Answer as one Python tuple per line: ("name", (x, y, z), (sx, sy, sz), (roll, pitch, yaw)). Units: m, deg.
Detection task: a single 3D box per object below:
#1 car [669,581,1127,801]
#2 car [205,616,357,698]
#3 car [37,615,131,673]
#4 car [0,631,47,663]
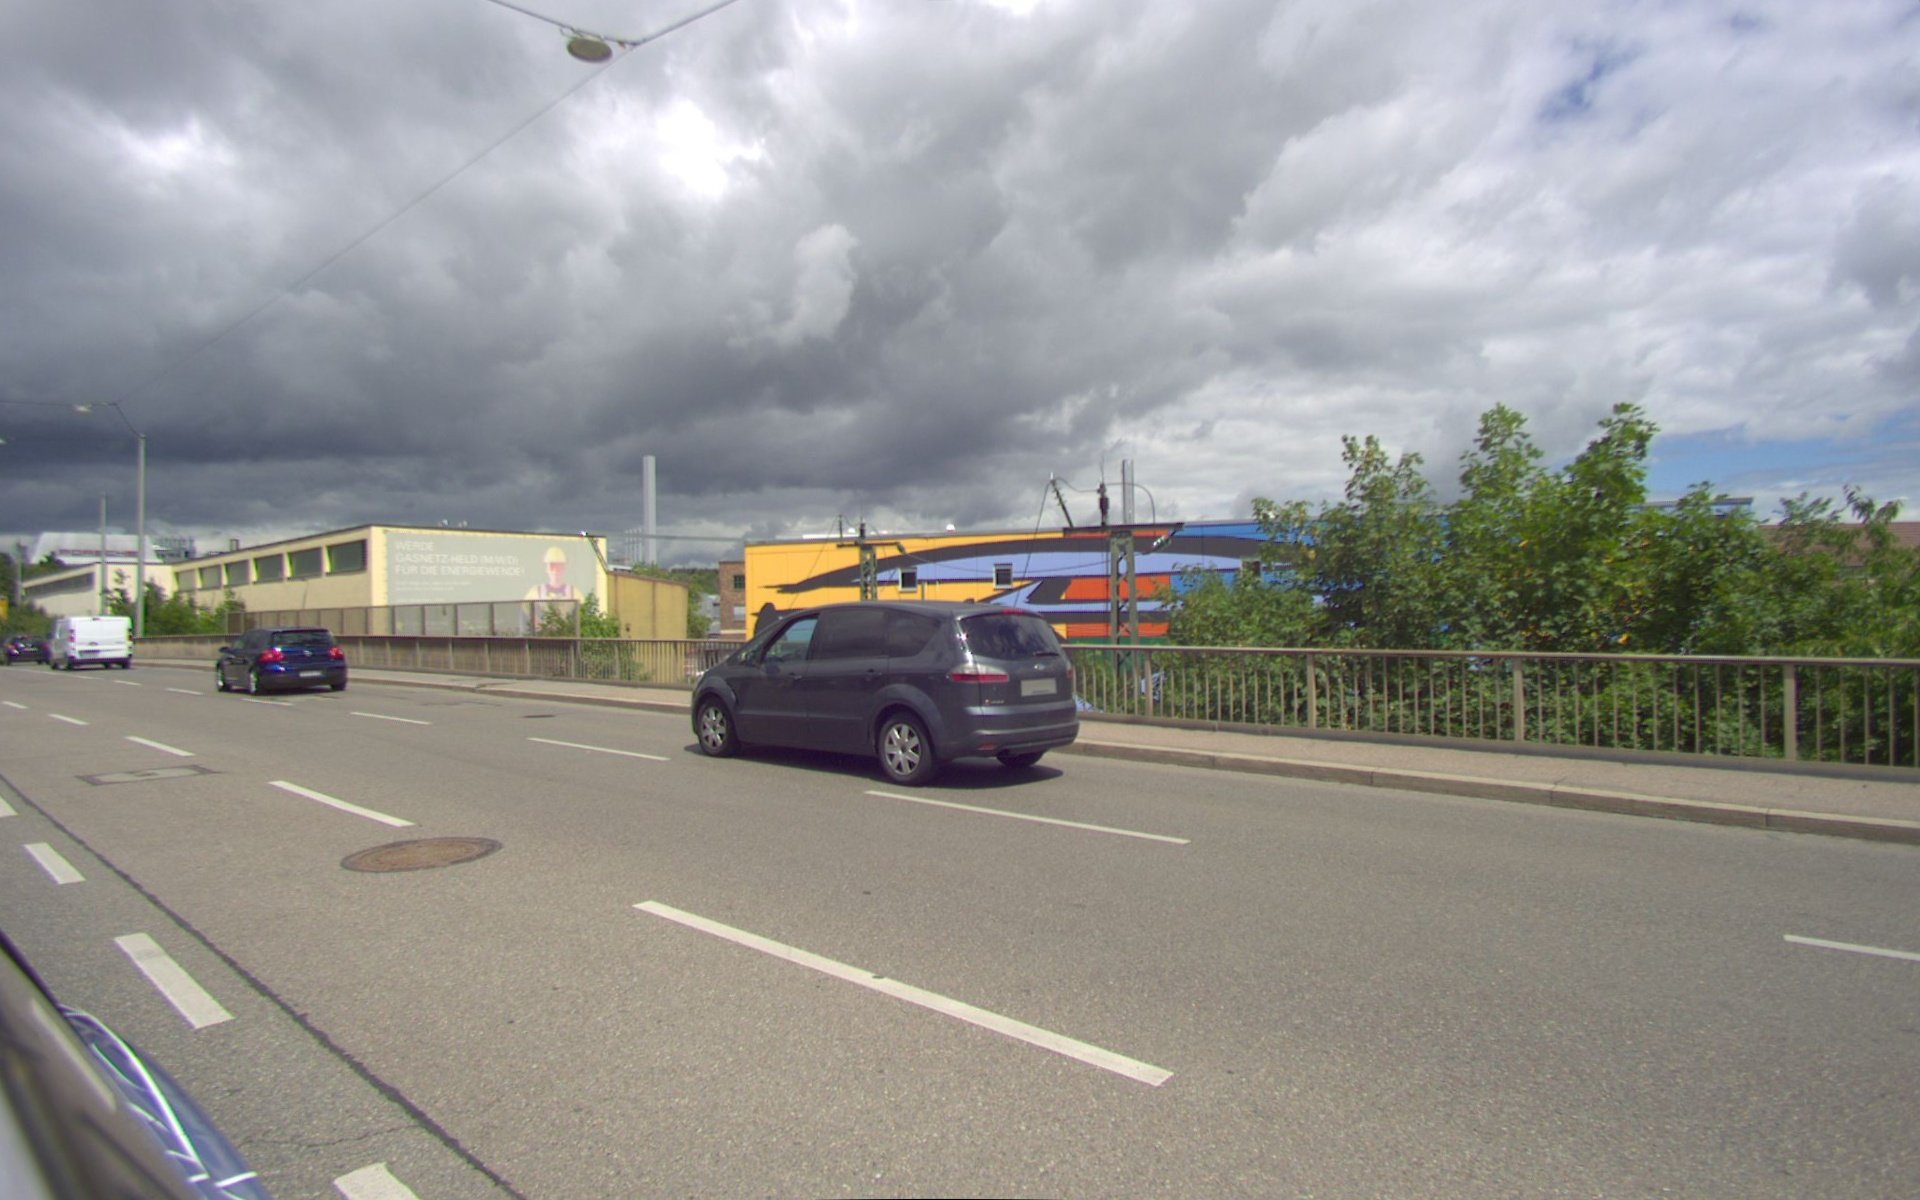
("car", (-0.805, 0.794, 10.186), (4.623, 1.715, 1.891), (-2, -3, 41))
("car", (-15.151, 1.217, 22.512), (3.998, 1.630, 1.837), (-2, -1, 41))
("car", (-33.275, 1.643, 38.377), (5.646, 2.029, 1.872), (-2, -1, 40))
("car", (-45.330, 2.230, 48.636), (3.795, 1.423, 1.592), (-2, -1, 39))
